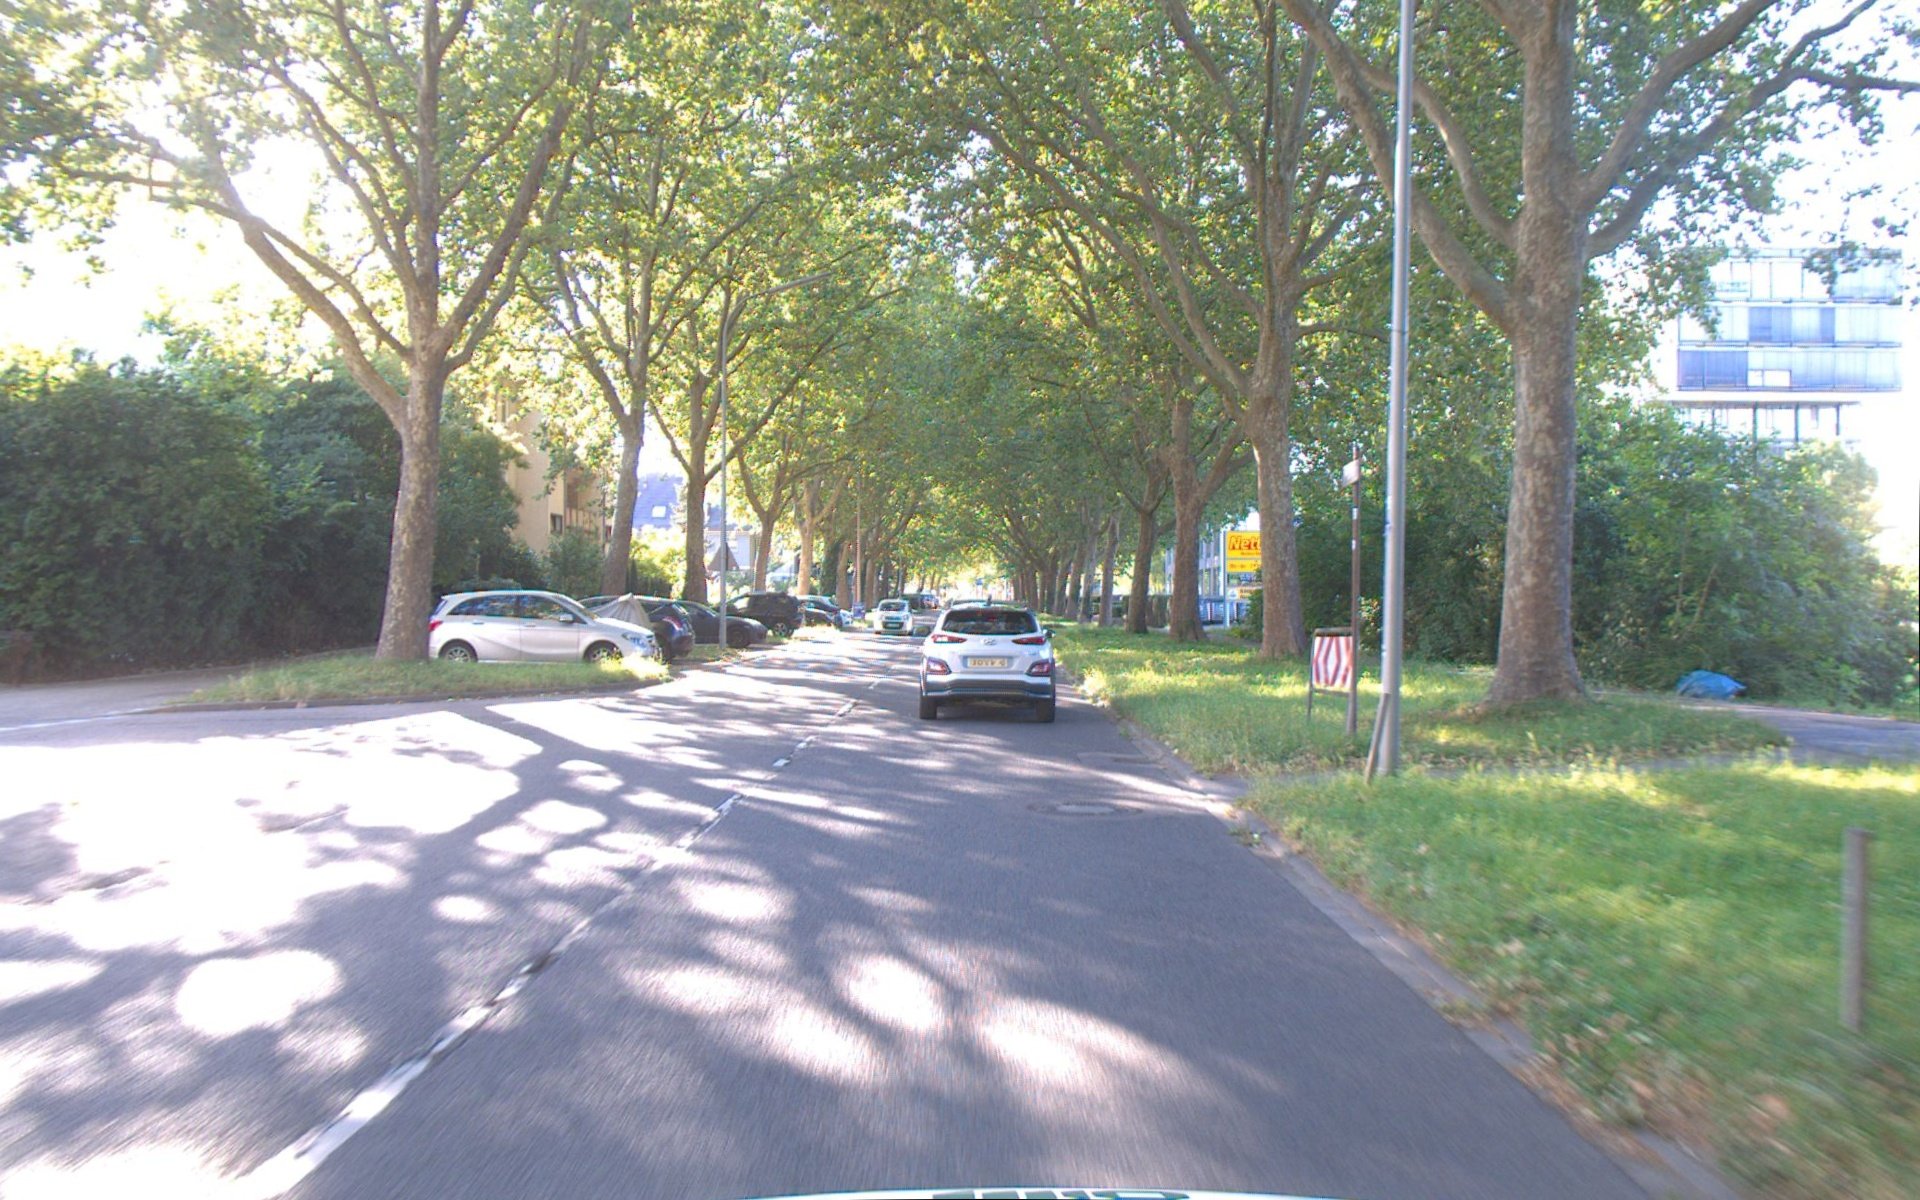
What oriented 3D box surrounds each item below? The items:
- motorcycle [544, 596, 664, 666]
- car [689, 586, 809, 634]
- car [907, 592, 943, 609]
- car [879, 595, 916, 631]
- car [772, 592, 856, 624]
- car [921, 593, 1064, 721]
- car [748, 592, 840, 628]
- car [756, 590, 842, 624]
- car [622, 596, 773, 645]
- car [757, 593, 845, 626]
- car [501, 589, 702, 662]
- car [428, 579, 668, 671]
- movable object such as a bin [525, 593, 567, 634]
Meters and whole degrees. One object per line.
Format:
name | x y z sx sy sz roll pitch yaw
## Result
motorcycle | -7.277 0.622 33.889 2.339 1.412 0.648 0 0 -5
car | -7.649 0.356 60.222 4.157 1.709 1.671 1 0 0
car | -4.007 0.029 188.224 3.908 1.803 1.998 1 -1 -4
car | -2.632 0.524 70.013 1.504 1.484 3.184 1 0 -2
car | -7.167 0.404 81.460 3.904 1.496 1.809 1 0 2
car | 0.391 0.714 22.897 1.798 1.583 4.000 1 1 -1
car | -7.383 0.439 73.692 3.906 1.496 1.780 1 0 -1
car | -7.684 0.321 79.048 3.906 1.546 1.809 1 0 -1
car | -7.599 0.588 48.170 4.154 1.376 1.741 0 0 -2
car | -7.253 0.418 75.802 3.908 1.449 1.808 1 0 -4
car | -7.853 0.548 36.508 4.077 1.532 1.801 0 0 -4
car | -7.752 0.463 31.431 4.101 1.612 1.998 1 0 -4
movable object such as a bin | -13.970 0.460 55.808 1.161 1.374 0.954 0 -1 0
